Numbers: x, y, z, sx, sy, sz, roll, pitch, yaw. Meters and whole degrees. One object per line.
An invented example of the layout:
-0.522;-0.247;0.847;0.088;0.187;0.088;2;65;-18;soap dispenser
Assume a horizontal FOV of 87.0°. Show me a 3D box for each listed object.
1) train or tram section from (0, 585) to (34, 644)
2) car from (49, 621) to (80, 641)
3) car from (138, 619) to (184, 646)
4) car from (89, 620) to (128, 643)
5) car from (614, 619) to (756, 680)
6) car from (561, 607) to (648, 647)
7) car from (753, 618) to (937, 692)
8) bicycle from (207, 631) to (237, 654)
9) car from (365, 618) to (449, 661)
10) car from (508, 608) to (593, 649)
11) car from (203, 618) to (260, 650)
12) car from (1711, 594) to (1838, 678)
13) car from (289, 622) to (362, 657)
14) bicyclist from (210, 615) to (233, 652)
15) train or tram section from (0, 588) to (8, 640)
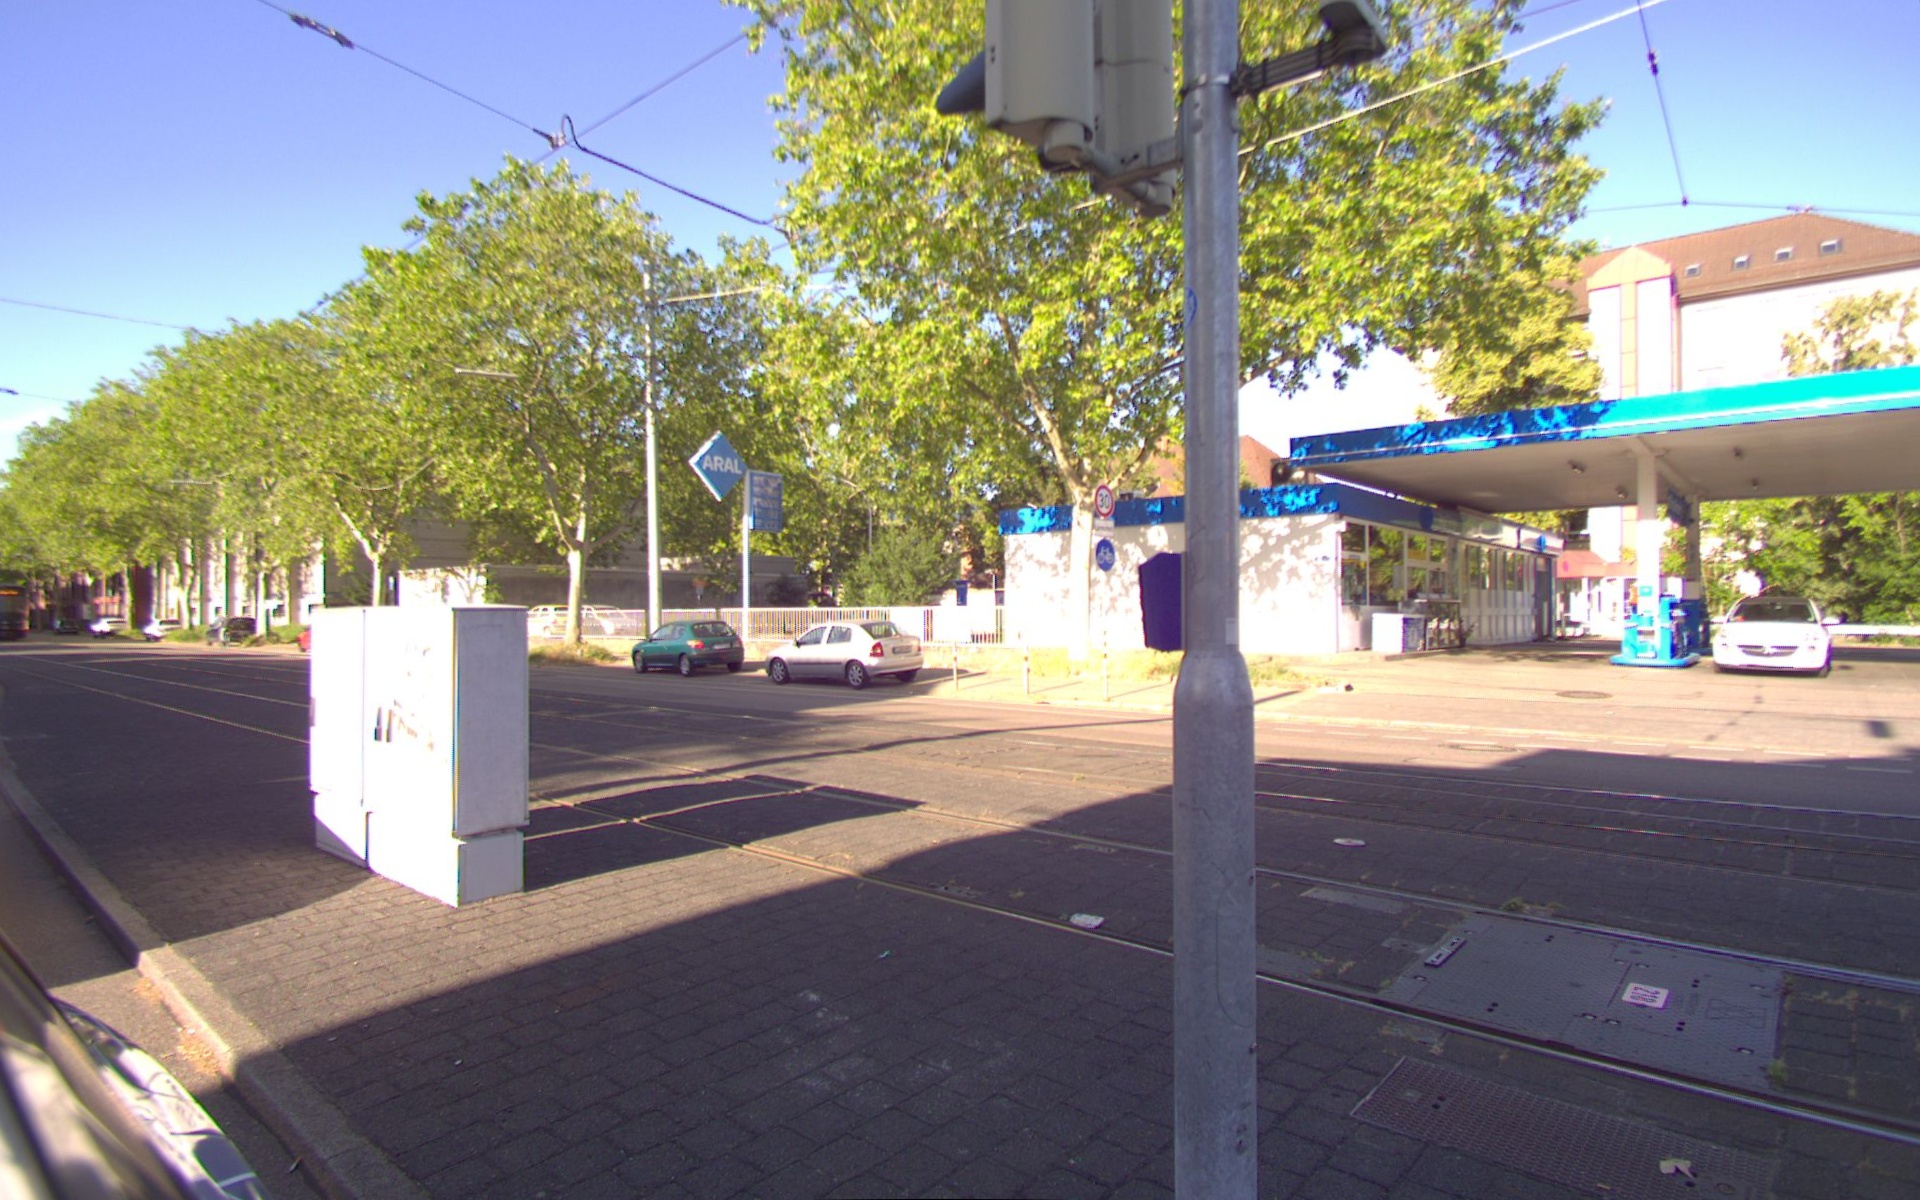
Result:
-60.584;0.887;63.147;10.175;3.503;2.826;-1;0;40;train or tram section
-85.052;2.926;96.092;4.098;1.686;1.821;-1;1;44;car
-53.850;2.144;68.199;4.098;1.686;1.821;-1;1;44;car
-66.954;2.470;79.570;4.098;1.686;1.821;-1;1;44;car
-7.437;1.265;27.131;4.138;1.418;1.820;-1;1;45;car
-15.401;1.160;43.768;3.999;1.545;1.822;-1;1;42;car
-2.629;1.168;22.642;3.997;1.418;1.823;-1;1;40;car
-38.315;2.186;52.552;2.530;1.129;0.646;-1;-1;39;bicycle
-21.973;1.528;40.182;4.002;1.545;1.820;-1;1;45;car
-17.142;1.183;42.276;4.002;1.545;1.820;-1;1;45;car
-40.665;1.870;56.475;4.098;1.628;1.821;-1;1;44;car
15.999;0.669;19.842;1.780;1.475;3.946;-1;-1;40;car
-28.973;1.760;46.175;4.001;1.418;1.821;-1;1;44;car
-38.360;1.745;52.588;1.070;1.878;0.711;-1;-2;39;bicyclist
-68.286;0.984;69.779;10.177;3.503;2.807;-1;0;41;train or tram section
